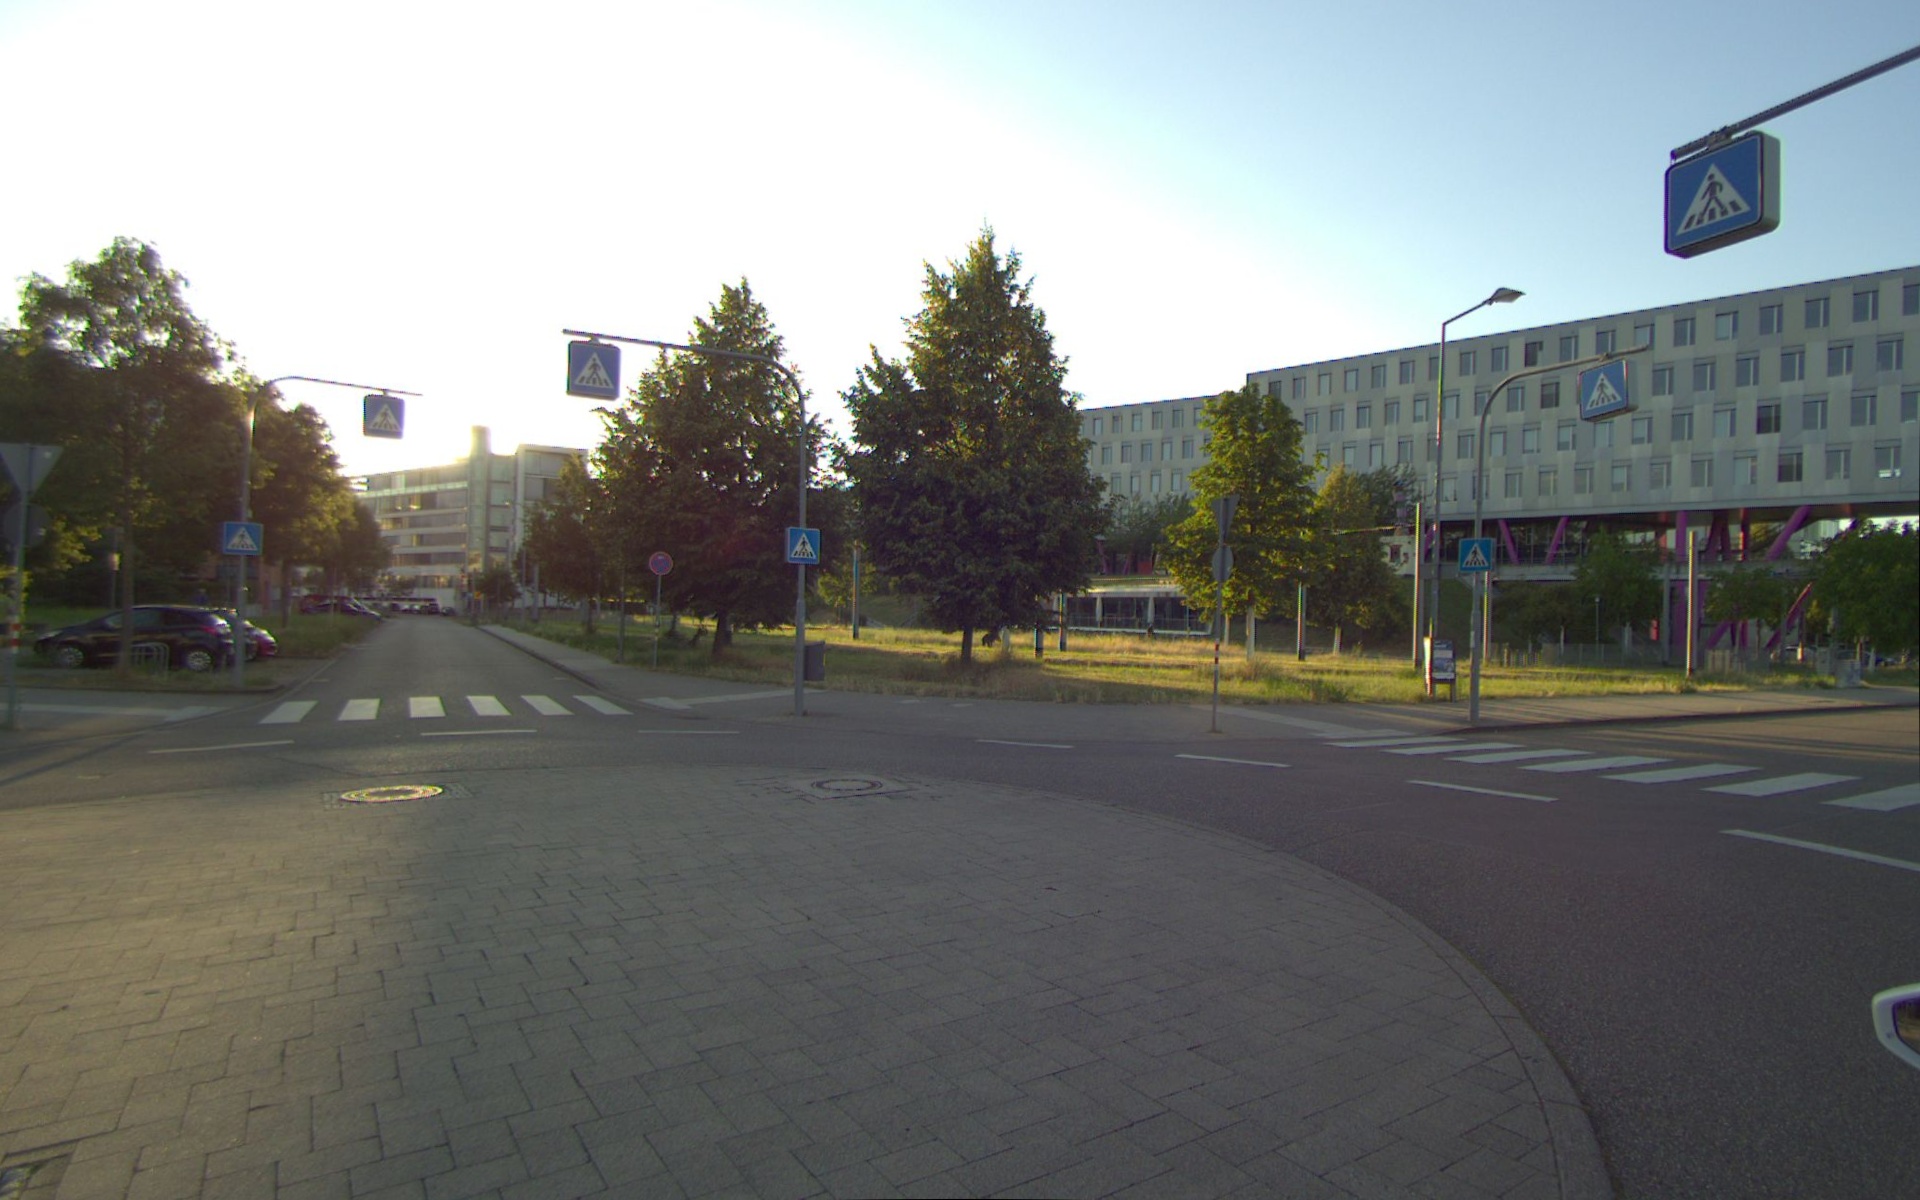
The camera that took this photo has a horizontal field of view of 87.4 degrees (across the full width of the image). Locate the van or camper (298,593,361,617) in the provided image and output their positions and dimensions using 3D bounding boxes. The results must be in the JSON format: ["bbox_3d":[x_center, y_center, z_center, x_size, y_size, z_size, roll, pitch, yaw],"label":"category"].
[{"bbox_3d":[-46.760,0.396,74.562,3.842,1.717,1.816,1,0,-36],"label":"van or camper"}]

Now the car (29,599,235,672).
[{"bbox_3d":[-18.973,0.825,23.216,3.372,1.542,1.677,3,-1,-31],"label":"car"}]

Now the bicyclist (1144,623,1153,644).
[{"bbox_3d":[13.733,2.460,73.131,0.420,1.514,0.509,1,0,-32],"label":"bicyclist"}]

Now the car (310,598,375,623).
[{"bbox_3d":[-44.485,0.784,72.358,3.842,1.717,1.685,1,0,-36],"label":"car"}]

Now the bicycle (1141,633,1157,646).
[{"bbox_3d":[13.736,2.878,73.117,0.426,0.912,1.224,1,0,-33],"label":"bicycle"}]

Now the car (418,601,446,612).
[{"bbox_3d":[-83.667,0.980,159.179,3.838,1.634,1.687,1,0,-33],"label":"car"}]

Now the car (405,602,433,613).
[{"bbox_3d":[-87.560,1.183,162.599,3.765,1.634,1.637,1,0,-33],"label":"car"}]

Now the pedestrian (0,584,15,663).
[{"bbox_3d":[-21.117,0.509,21.928,0.732,1.689,0.621,3,1,42],"label":"pedestrian"}]

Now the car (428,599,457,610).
[{"bbox_3d":[-80.265,0.715,155.812,3.838,1.634,1.687,1,0,-33],"label":"car"}]

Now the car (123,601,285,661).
[{"bbox_3d":[-20.806,0.868,27.816,3.372,1.520,1.581,3,-1,-31],"label":"car"}]

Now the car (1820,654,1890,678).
[{"bbox_3d":[82.332,6.064,92.489,1.879,1.852,4.669,1,-1,-43],"label":"car"}]

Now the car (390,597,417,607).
[{"bbox_3d":[-93.678,0.403,169.070,3.765,1.634,1.637,1,0,-33],"label":"car"}]

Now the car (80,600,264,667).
[{"bbox_3d":[-19.561,0.844,25.106,3.372,1.520,1.581,3,-1,-31],"label":"car"}]
